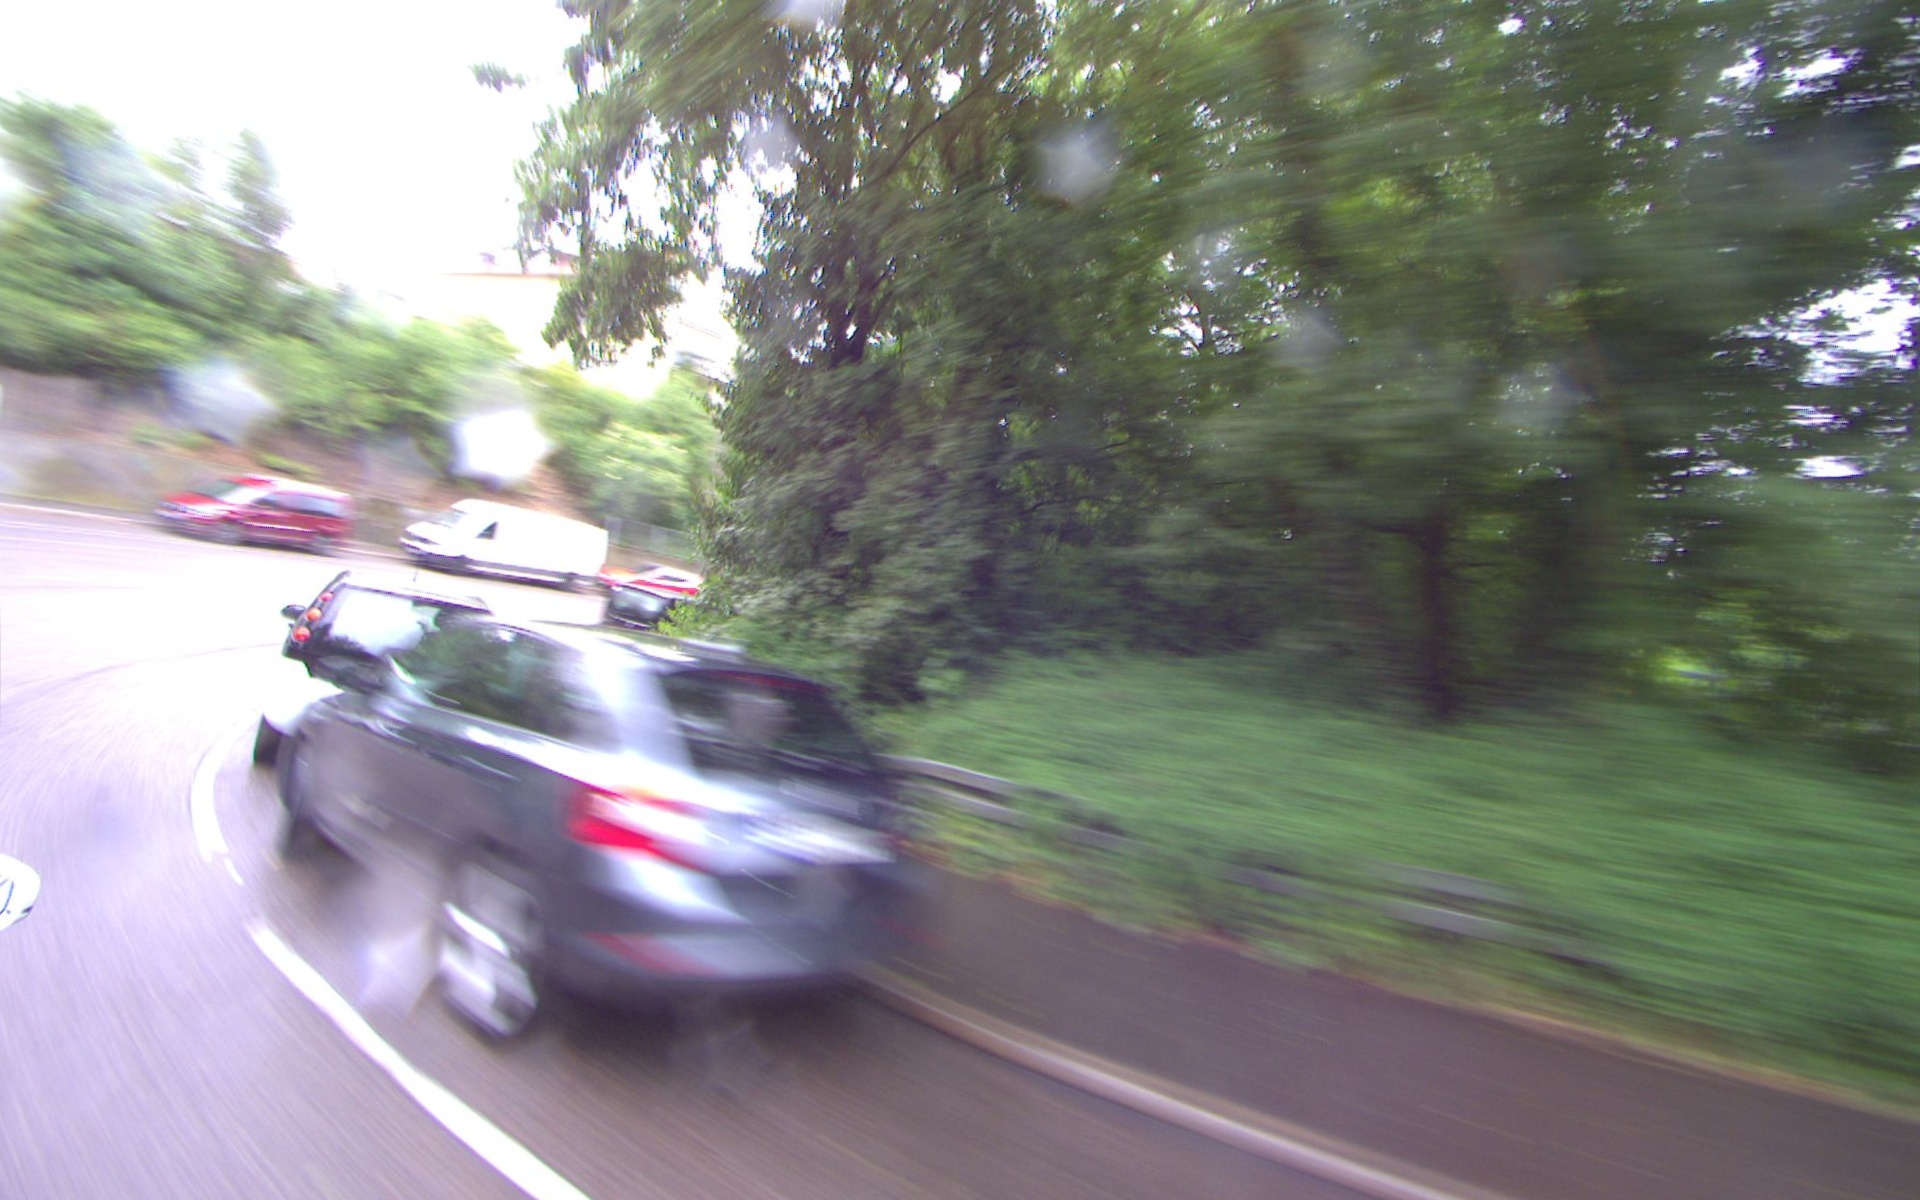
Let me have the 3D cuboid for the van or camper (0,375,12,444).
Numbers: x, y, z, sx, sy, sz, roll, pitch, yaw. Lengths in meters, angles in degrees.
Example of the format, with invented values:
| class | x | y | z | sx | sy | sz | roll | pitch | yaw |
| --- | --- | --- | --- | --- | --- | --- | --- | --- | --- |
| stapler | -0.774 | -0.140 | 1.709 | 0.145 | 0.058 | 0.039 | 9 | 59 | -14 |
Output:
| class | x | y | z | sx | sy | sz | roll | pitch | yaw |
| --- | --- | --- | --- | --- | --- | --- | --- | --- | --- |
| van or camper | -20.241 | -3.243 | 16.392 | 2.164 | 2.966 | 7.657 | 12 | 0 | -3 |

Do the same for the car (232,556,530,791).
| class | x | y | z | sx | sy | sz | roll | pitch | yaw |
| --- | --- | --- | --- | --- | --- | --- | --- | --- | --- |
| car | -5.033 | 0.512 | 8.877 | 1.674 | 1.423 | 3.700 | 11 | -2 | -30 |

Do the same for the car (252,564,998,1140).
| class | x | y | z | sx | sy | sz | roll | pitch | yaw |
| --- | --- | --- | --- | --- | --- | --- | --- | --- | --- |
| car | -1.925 | 0.809 | 4.922 | 3.980 | 1.480 | 1.648 | 6 | -4 | 44 |

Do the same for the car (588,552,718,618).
| class | x | y | z | sx | sy | sz | roll | pitch | yaw |
| --- | --- | --- | --- | --- | --- | --- | --- | --- | --- |
| car | -12.428 | -0.586 | 40.903 | 1.822 | 1.683 | 4.564 | 13 | 0 | 42 |

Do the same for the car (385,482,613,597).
| class | x | y | z | sx | sy | sz | roll | pitch | yaw |
| --- | --- | --- | --- | --- | --- | --- | --- | --- | --- |
| car | -16.158 | -2.013 | 35.882 | 2.290 | 2.565 | 7.117 | 13 | 0 | 29 |

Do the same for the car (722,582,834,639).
| class | x | y | z | sx | sy | sz | roll | pitch | yaw |
| --- | --- | --- | --- | --- | --- | --- | --- | --- | --- |
| car | -8.156 | 0.516 | 45.394 | 4.558 | 1.587 | 1.825 | 13 | 0 | -44 |

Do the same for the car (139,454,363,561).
| class | x | y | z | sx | sy | sz | roll | pitch | yaw |
| --- | --- | --- | --- | --- | --- | --- | --- | --- | --- |
| car | -19.536 | -2.470 | 28.058 | 1.760 | 1.909 | 4.931 | 12 | -1 | 14 |
